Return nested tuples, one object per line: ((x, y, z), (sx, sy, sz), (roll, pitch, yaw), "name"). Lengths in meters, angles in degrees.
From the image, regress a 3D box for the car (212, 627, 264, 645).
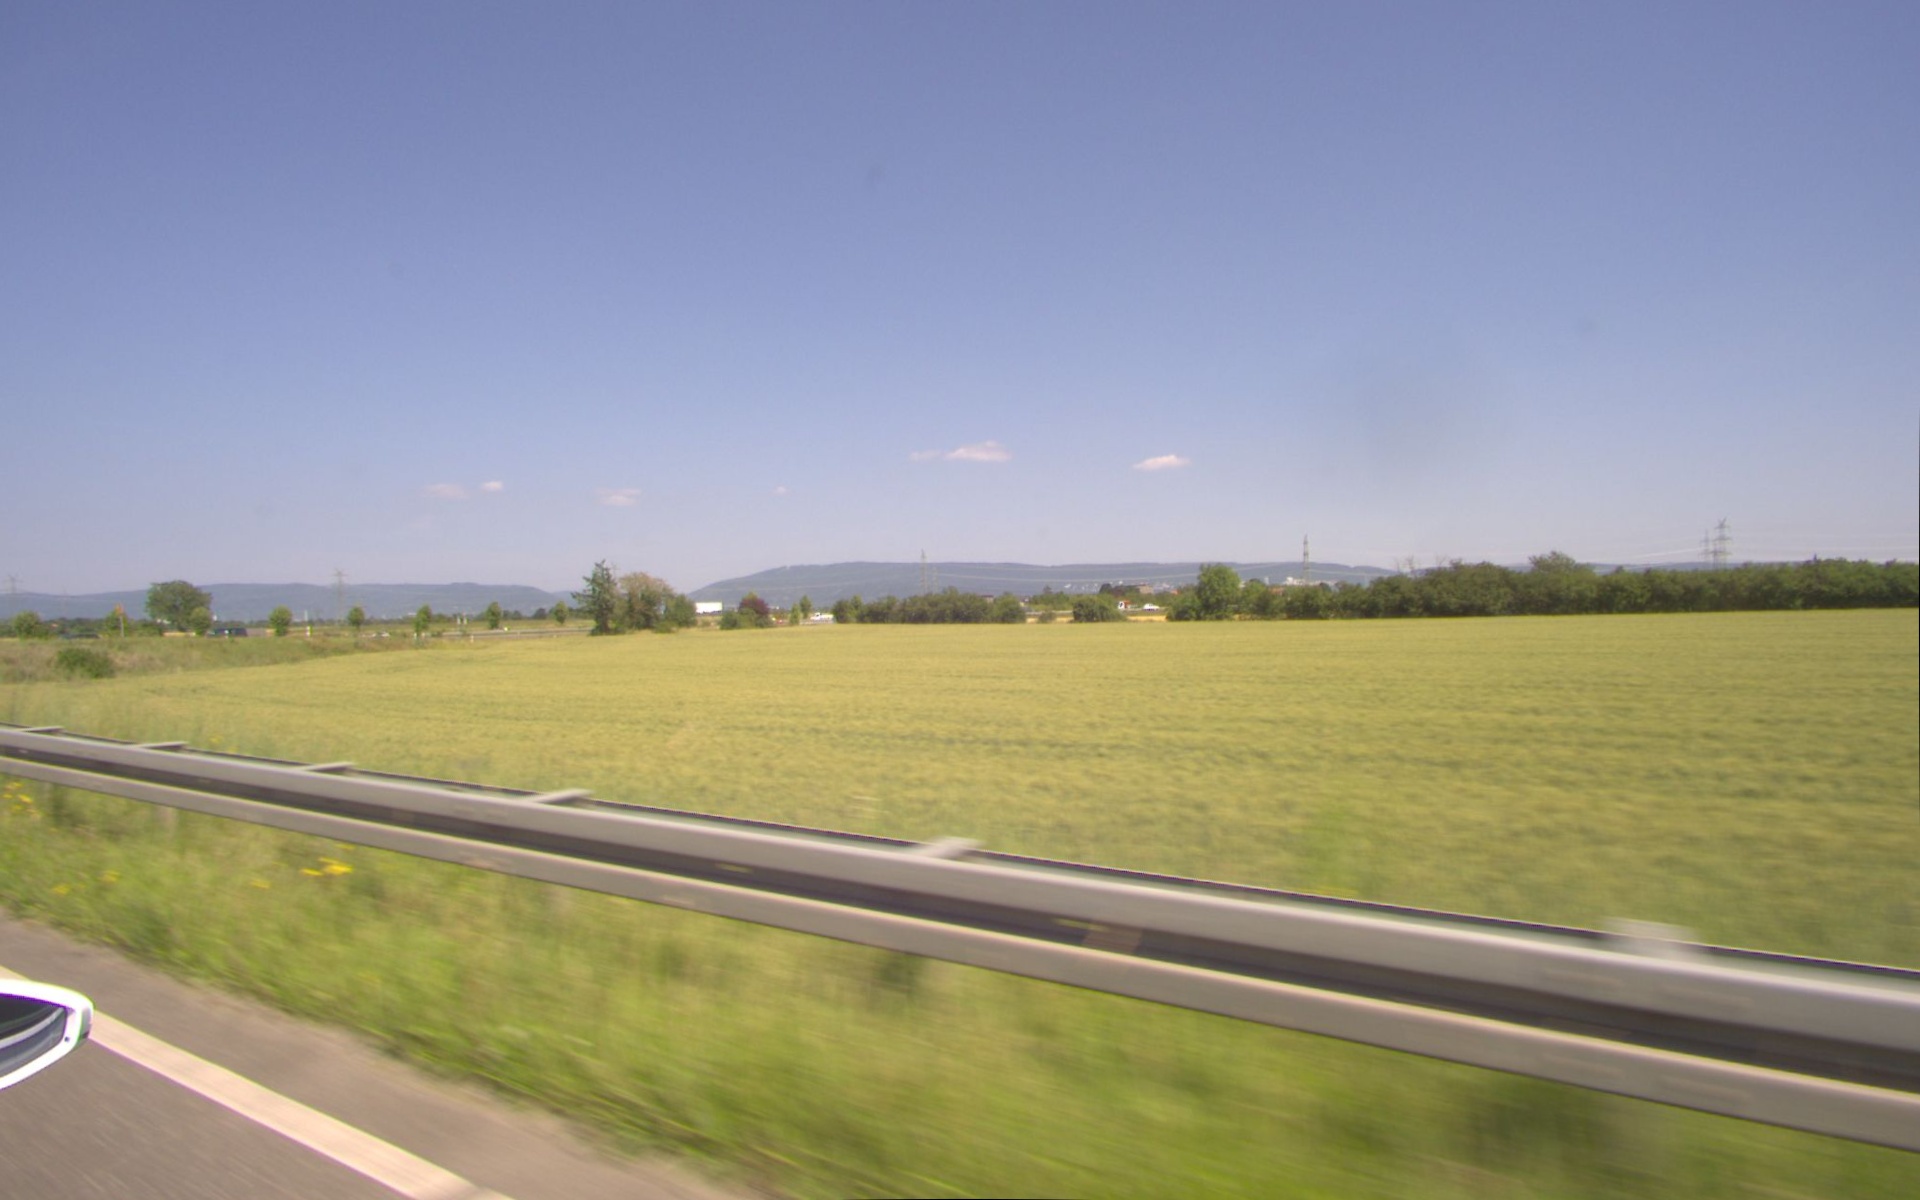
((-61.628, 3.073, 85.543), (1.618, 1.504, 3.485), (-1, -2, 8), "car")

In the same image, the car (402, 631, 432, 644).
((-63.443, 4.400, 117.024), (1.617, 1.504, 3.486), (-1, -2, 1), "car")
